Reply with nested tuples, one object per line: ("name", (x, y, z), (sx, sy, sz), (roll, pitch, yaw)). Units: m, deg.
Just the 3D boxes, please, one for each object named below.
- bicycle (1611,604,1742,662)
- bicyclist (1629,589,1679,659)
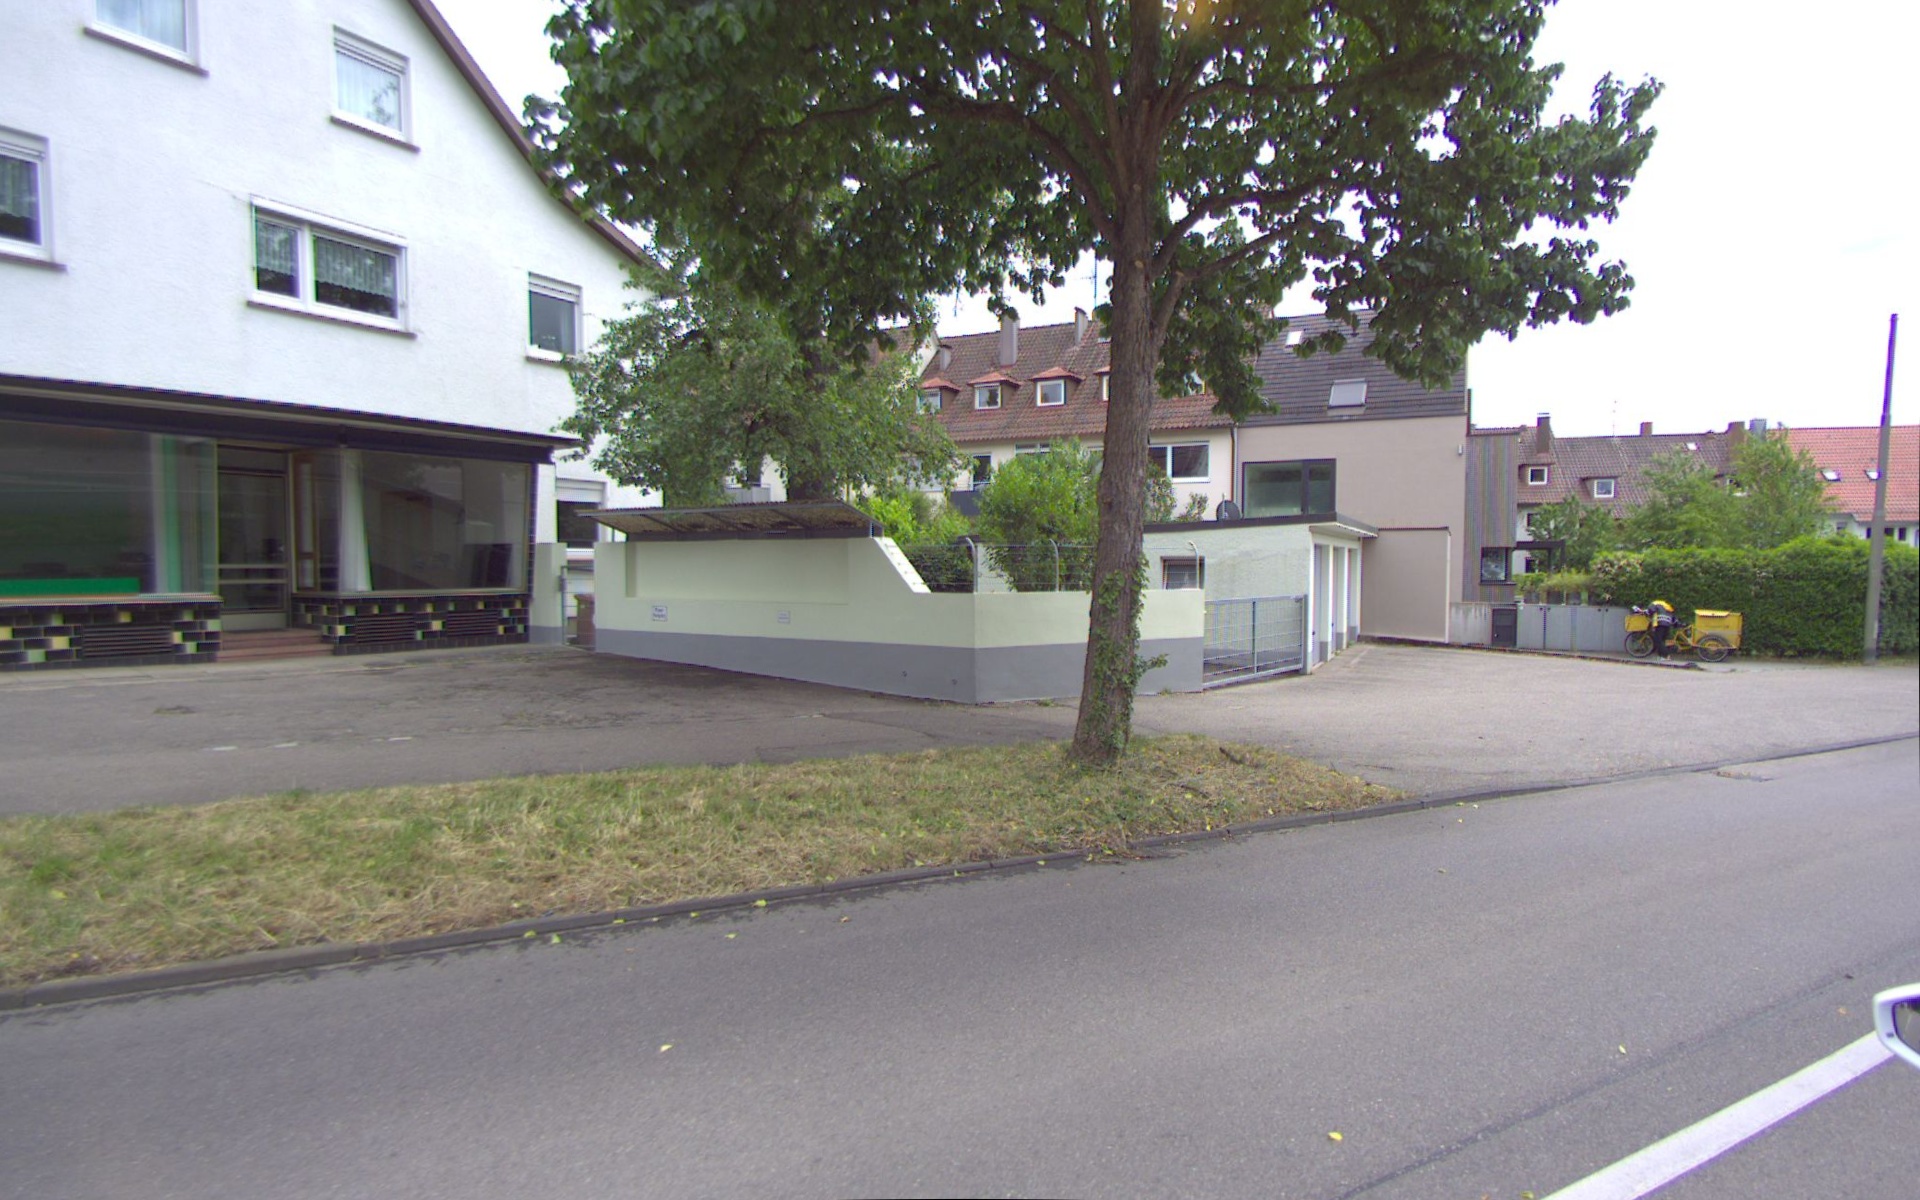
("bicycle", (18.103, 0.791, 25.421), (2.612, 1.283, 0.843), (3, 3, 41))
("bicyclist", (17.633, 0.593, 25.526), (0.838, 1.720, 0.707), (0, 3, -32))
